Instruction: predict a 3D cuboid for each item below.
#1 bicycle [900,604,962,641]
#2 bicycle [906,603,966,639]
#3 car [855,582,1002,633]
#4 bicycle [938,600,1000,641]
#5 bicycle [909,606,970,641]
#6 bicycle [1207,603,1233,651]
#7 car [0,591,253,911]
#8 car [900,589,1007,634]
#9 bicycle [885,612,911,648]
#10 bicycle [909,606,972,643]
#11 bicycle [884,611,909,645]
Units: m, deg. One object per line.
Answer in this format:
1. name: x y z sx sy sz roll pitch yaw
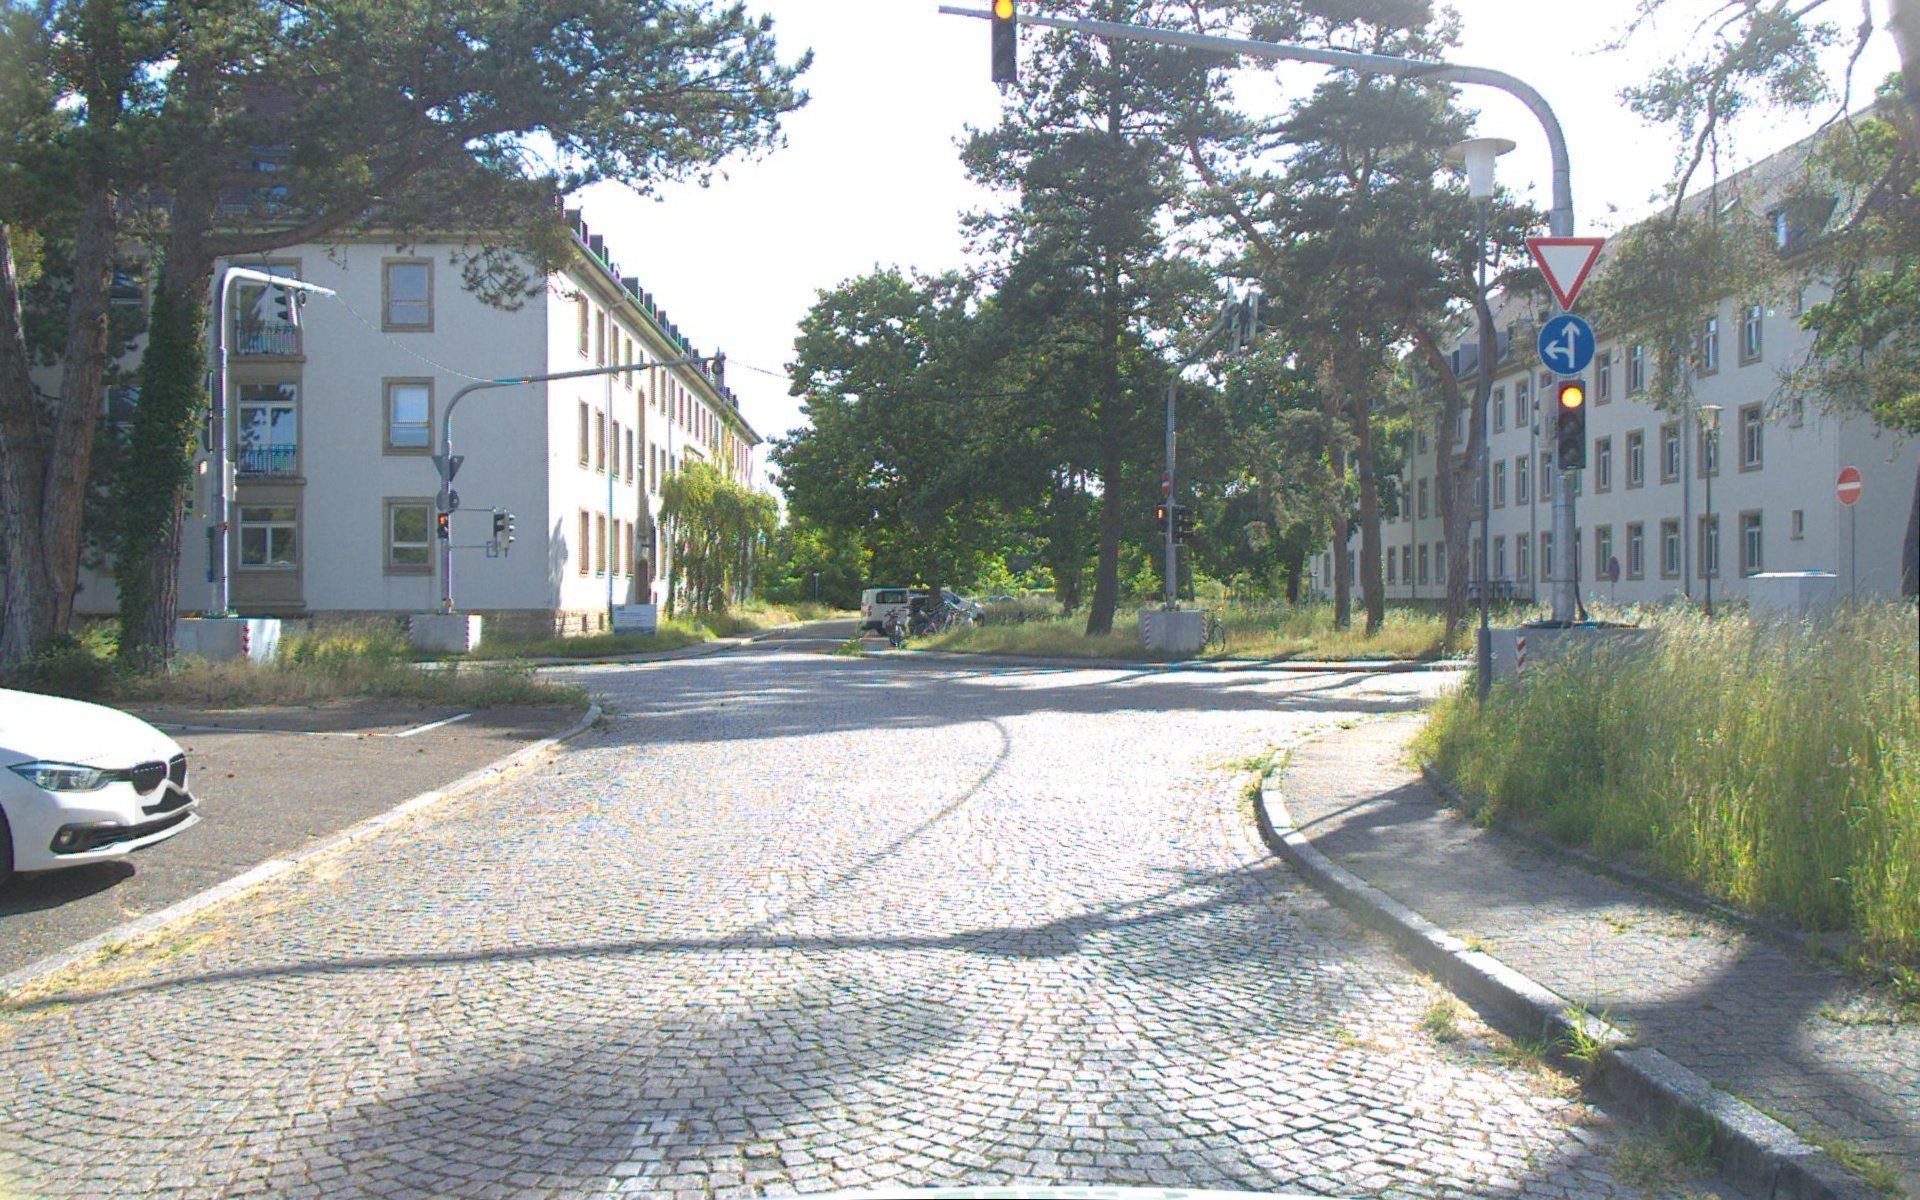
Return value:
1. bicycle: -0.917 0.716 52.813 1.919 1.149 0.641 0 0 -29
2. bicycle: -0.798 0.669 53.921 1.904 1.149 0.646 0 0 -8
3. car: -1.340 0.310 68.725 5.821 2.049 2.470 0 0 -9
4. bicycle: 0.281 0.644 52.345 1.903 1.257 0.485 0 0 -5
5. bicycle: -0.637 0.721 50.808 1.818 1.049 0.749 0 0 -5
6. bicycle: 6.122 0.626 38.932 0.456 1.099 1.174 0 0 1
7. car: -6.375 0.674 8.748 4.452 1.493 1.751 2 0 -5
8. car: -0.276 0.421 64.576 3.914 1.713 1.843 0 0 -10
9. bicycle: -1.774 0.836 47.272 0.682 0.988 1.859 0 0 -4
10. bicycle: -0.612 0.763 51.607 1.903 1.149 0.749 0 0 -5
11. bicycle: -1.907 0.828 49.212 0.682 0.988 1.859 0 0 -4
